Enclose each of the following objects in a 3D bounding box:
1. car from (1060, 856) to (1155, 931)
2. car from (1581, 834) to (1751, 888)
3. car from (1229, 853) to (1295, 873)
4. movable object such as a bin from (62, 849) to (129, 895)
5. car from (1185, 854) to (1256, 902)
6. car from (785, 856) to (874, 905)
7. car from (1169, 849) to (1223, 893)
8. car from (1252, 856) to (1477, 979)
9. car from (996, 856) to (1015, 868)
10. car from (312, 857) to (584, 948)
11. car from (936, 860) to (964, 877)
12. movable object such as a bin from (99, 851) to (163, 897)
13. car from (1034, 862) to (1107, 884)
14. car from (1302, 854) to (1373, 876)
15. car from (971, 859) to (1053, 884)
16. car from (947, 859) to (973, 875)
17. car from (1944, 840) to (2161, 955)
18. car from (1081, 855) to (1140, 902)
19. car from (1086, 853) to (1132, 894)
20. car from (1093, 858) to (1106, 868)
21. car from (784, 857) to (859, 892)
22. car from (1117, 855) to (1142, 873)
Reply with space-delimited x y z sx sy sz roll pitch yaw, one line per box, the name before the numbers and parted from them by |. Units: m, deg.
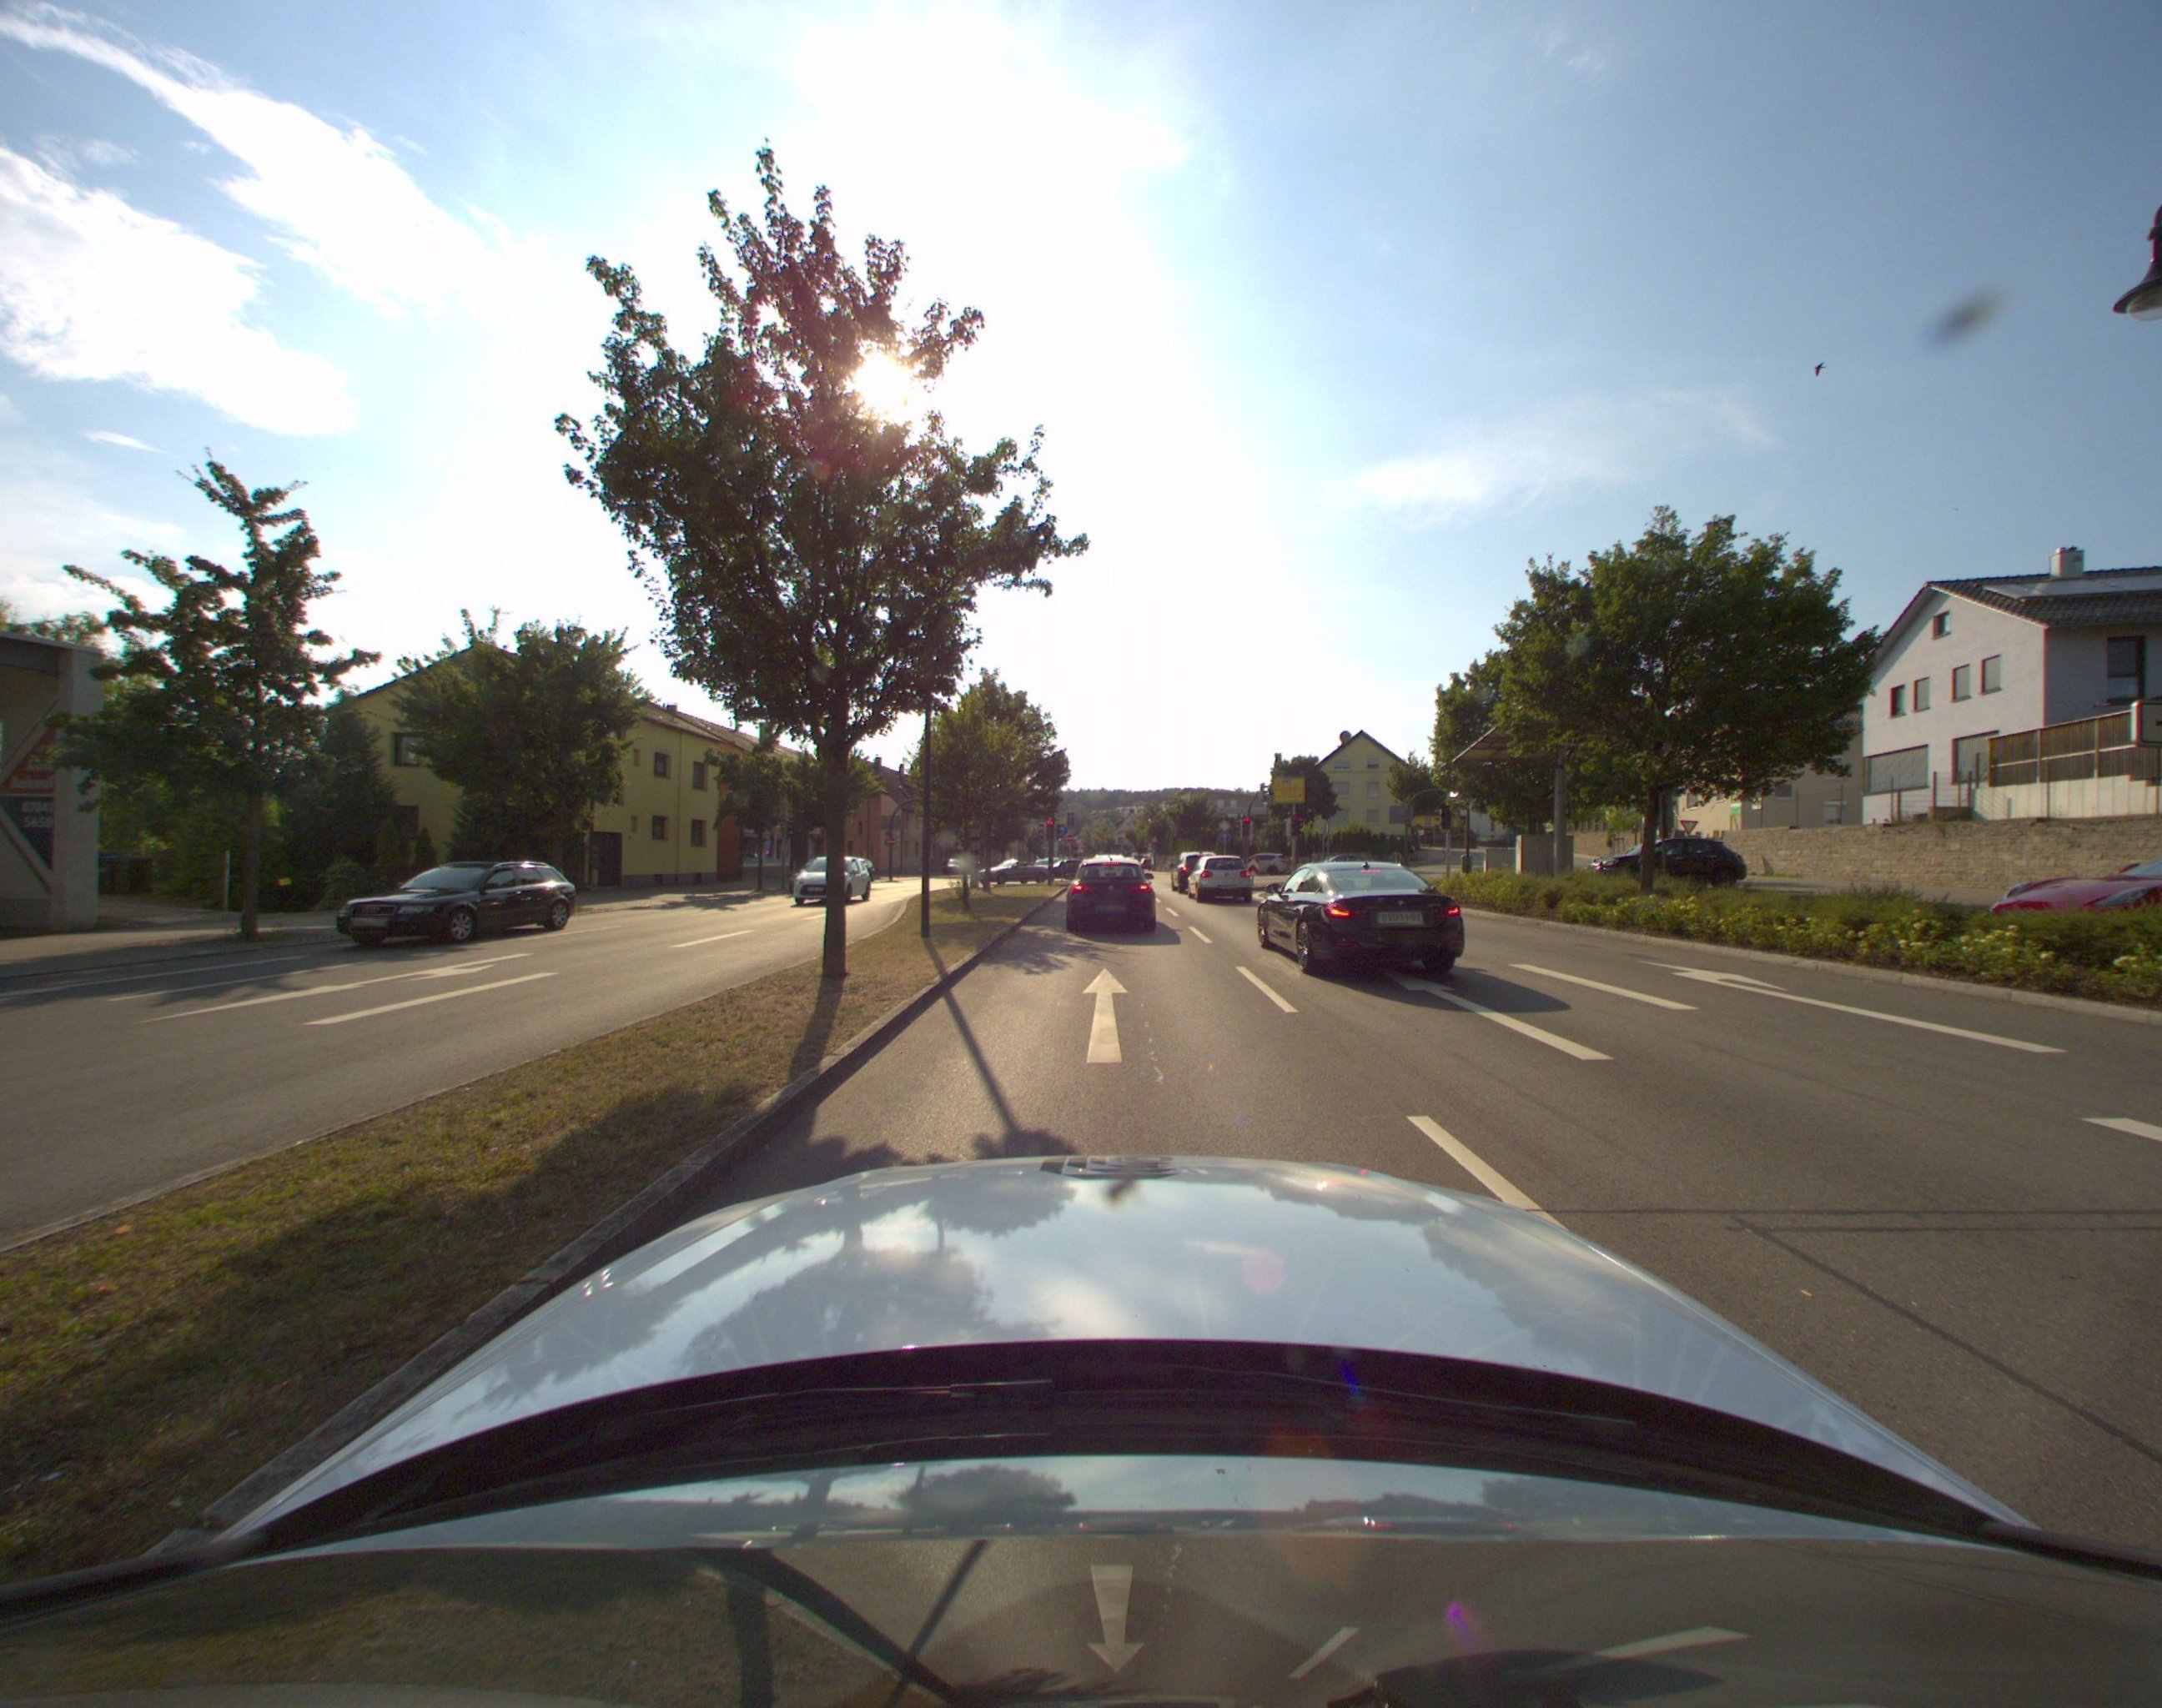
car | 0.616 0.755 17.536 1.783 1.414 4.350 0 0 3
car | 18.360 0.225 25.762 3.959 1.608 1.861 0 0 13
car | 13.791 0.688 62.186 4.601 1.485 1.878 0 0 25
movable object such as a bin | -24.586 0.434 20.327 0.728 1.086 0.721 3 0 1
car | 4.490 0.723 26.851 1.809 1.446 4.350 0 0 3
car | -8.225 0.812 26.959 1.796 1.497 3.953 0 0 -1
car | 4.639 0.653 33.464 1.809 1.666 4.350 0 0 3
car | 3.653 0.722 11.369 1.809 1.388 4.350 0 0 3
car | -10.257 1.080 110.583 1.916 1.596 4.003 0 0 3
car | -11.772 0.818 15.603 1.800 1.497 4.247 0 0 2
car | -12.926 1.418 80.517 1.916 1.596 4.003 0 0 3
movable object such as a bin | -23.697 0.481 20.327 0.728 1.086 0.696 3 0 1
car | -0.711 1.258 55.541 4.655 1.422 1.832 0 0 -28
car | 16.920 0.722 53.737 4.173 1.386 1.646 0 0 -8
car | -3.889 0.940 46.473 4.503 1.349 1.764 0 0 -43
car | -12.696 1.374 85.808 1.916 1.596 4.003 0 0 3
car | 13.415 0.485 9.722 3.962 1.272 1.859 0 0 10
car | 1.006 0.760 27.193 1.809 1.451 4.245 0 0 3
car | 1.204 0.787 34.457 1.809 1.641 4.245 0 0 3
car | 2.831 1.380 125.966 1.917 1.596 4.001 0 0 1
car | -11.372 0.856 35.988 1.680 1.462 4.713 0 0 1
car | 4.830 1.007 81.237 1.887 1.702 4.517 -1 0 -4
